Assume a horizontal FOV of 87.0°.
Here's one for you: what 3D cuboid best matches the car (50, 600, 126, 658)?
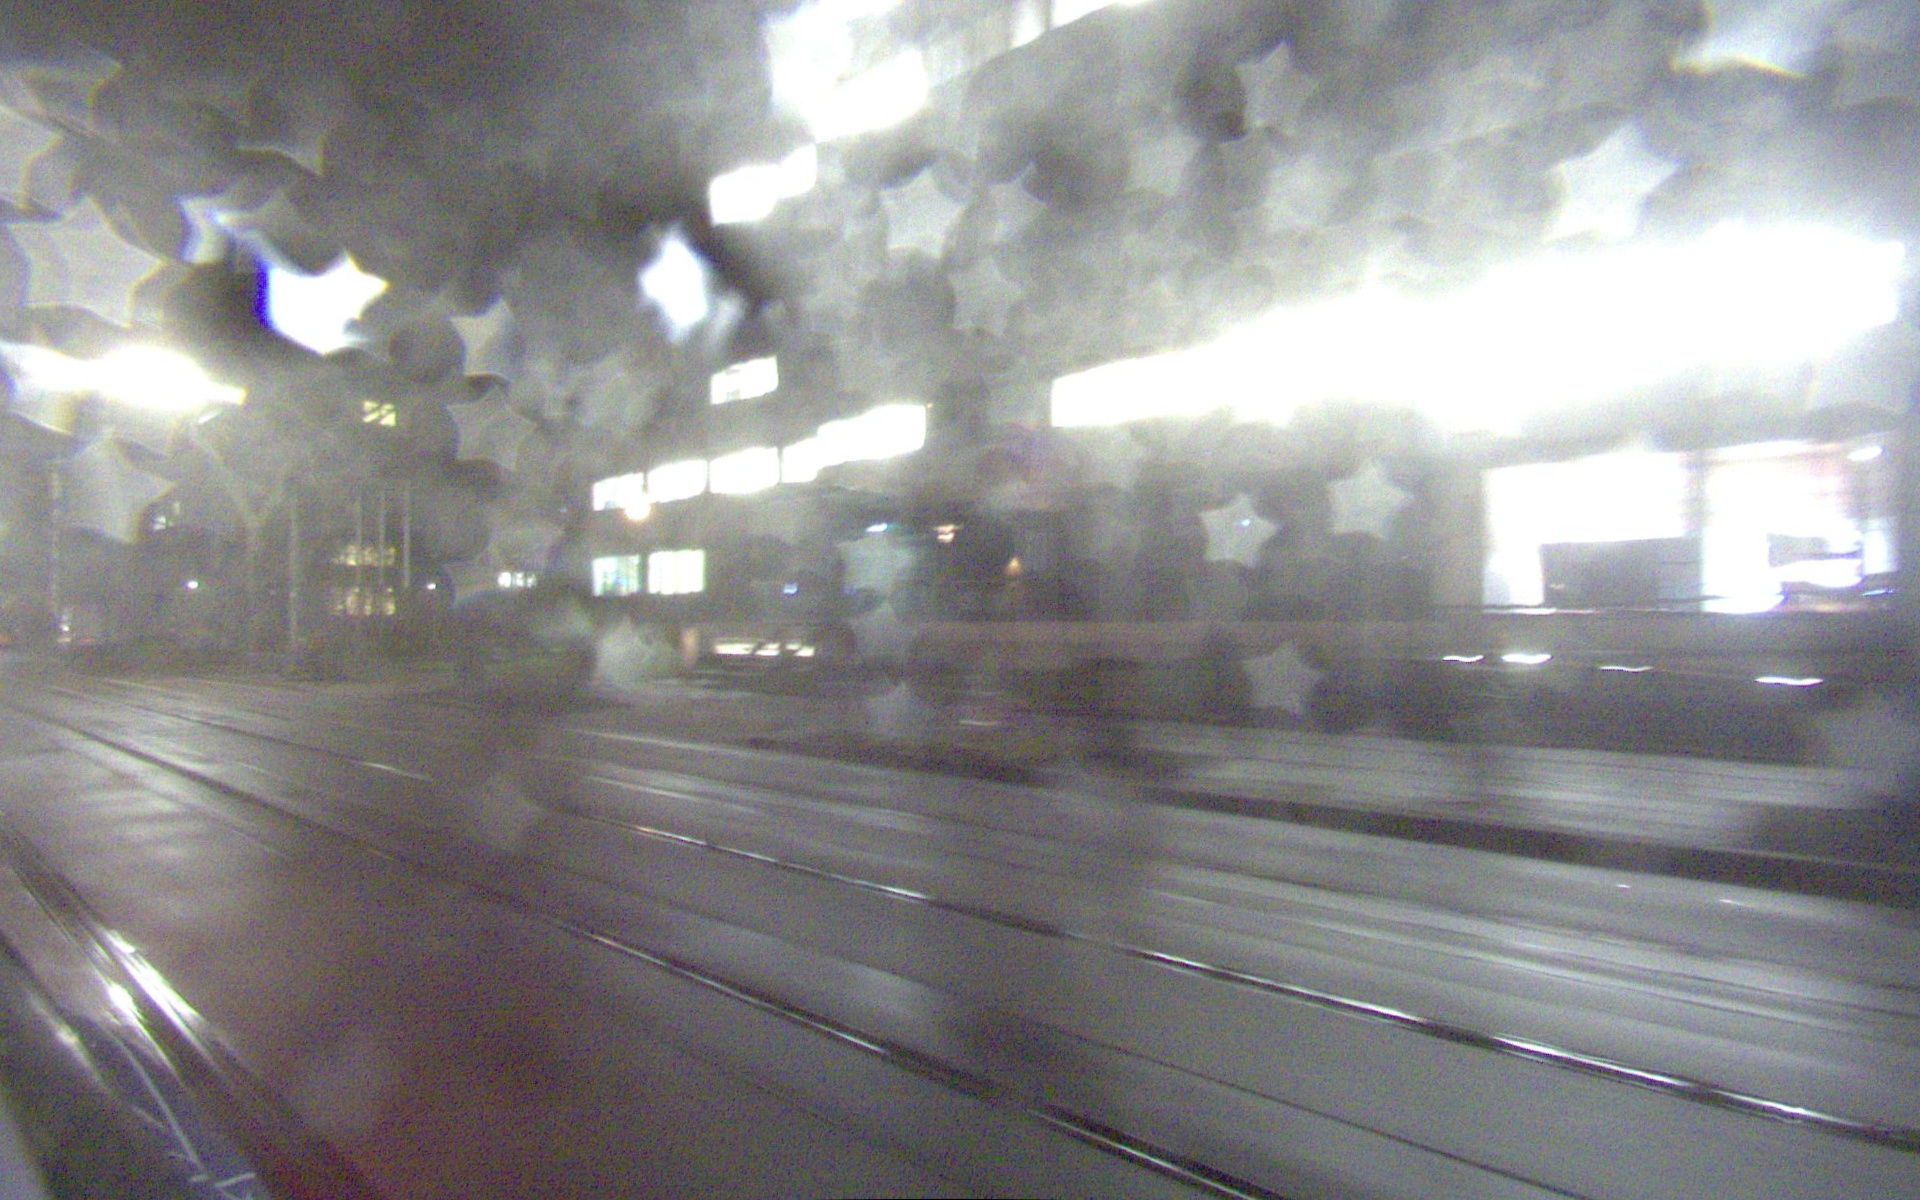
[{"bbox_3d":[-41.969,1.427,48.651,6.392,2.611,2.161,-2,-2,44],"label":"car"}]

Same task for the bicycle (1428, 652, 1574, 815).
[{"bbox_3d":[4.346,0.988,8.062,0.627,1.086,1.834,-1,-2,41],"label":"bicycle"}]

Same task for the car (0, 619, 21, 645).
[{"bbox_3d":[-65.382,2.189,68.738,4.600,1.668,1.948,-1,0,43],"label":"car"}]
